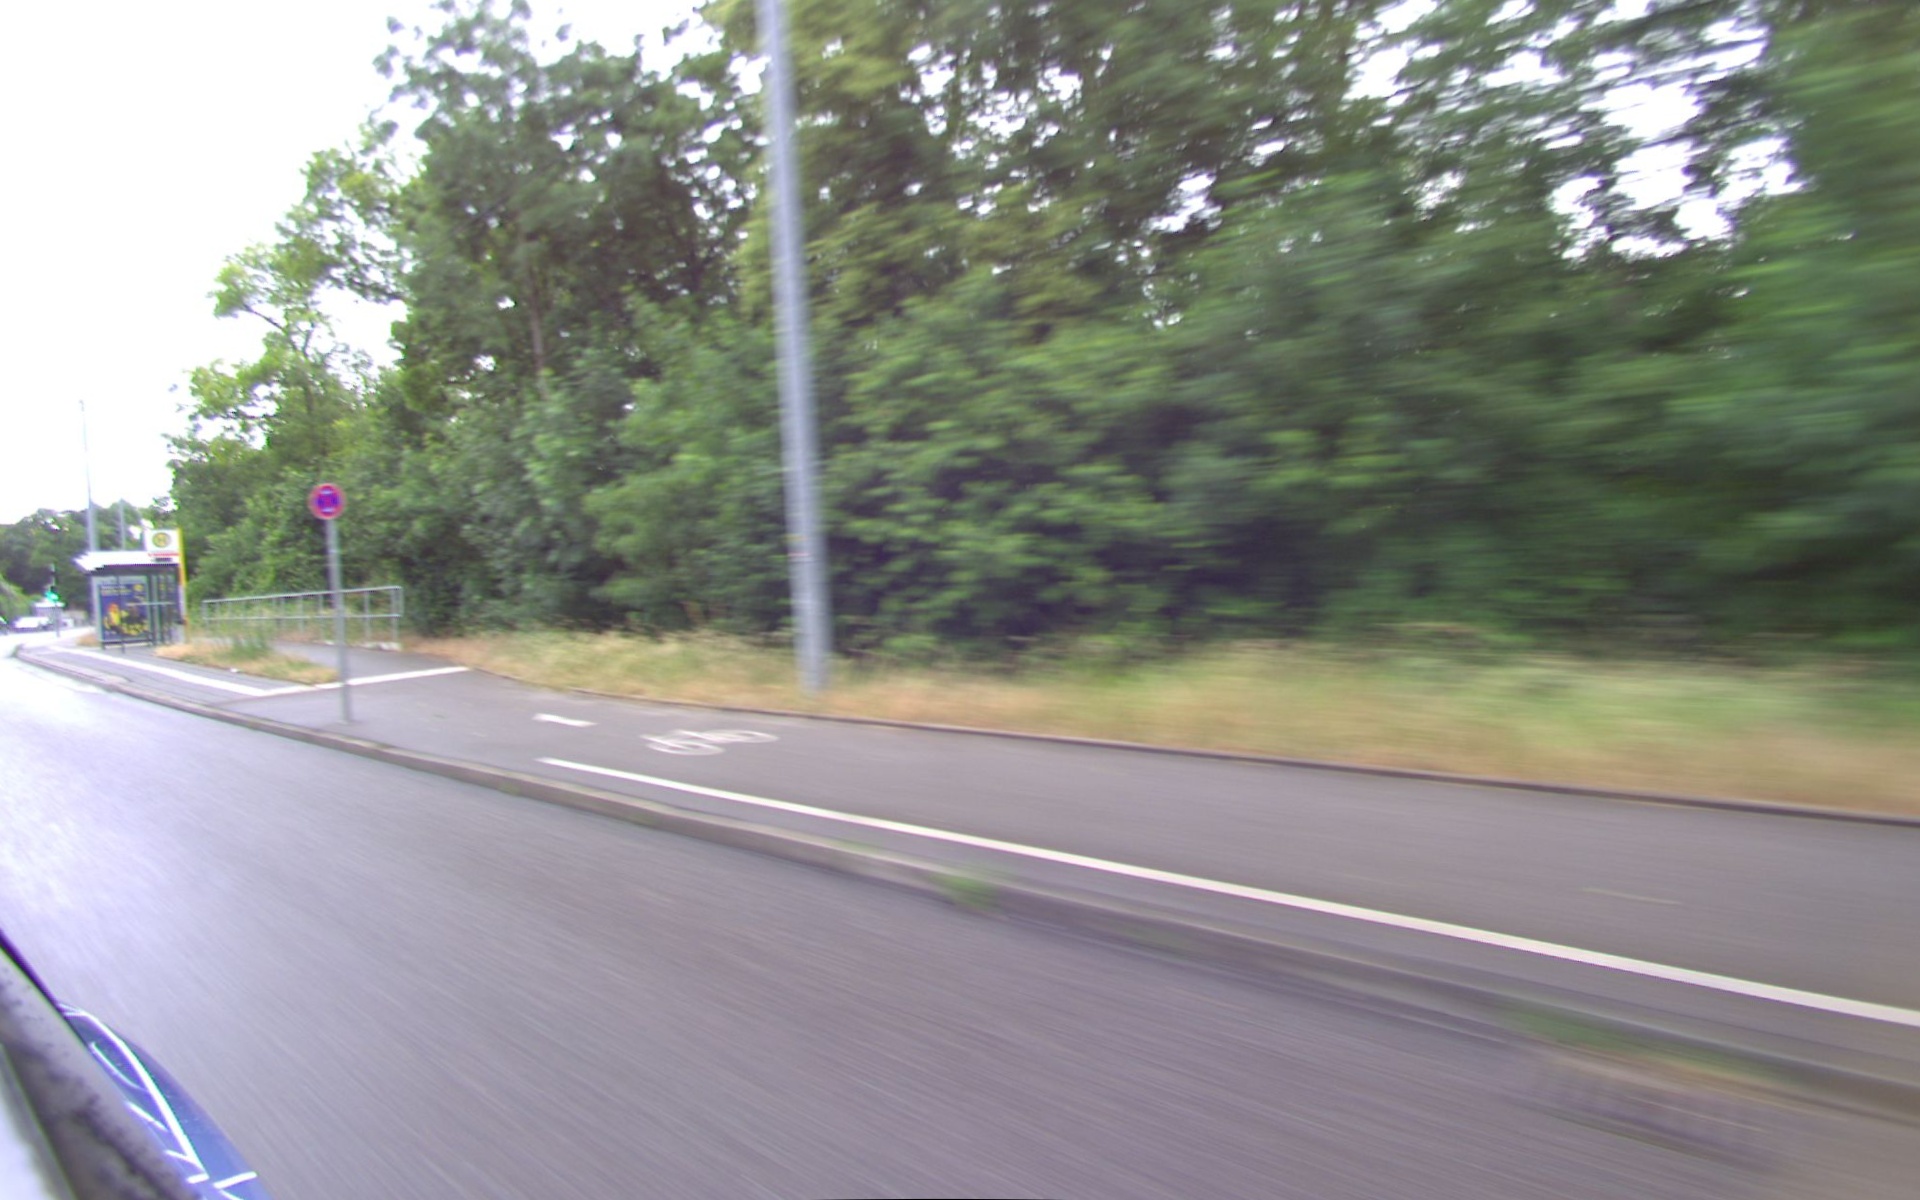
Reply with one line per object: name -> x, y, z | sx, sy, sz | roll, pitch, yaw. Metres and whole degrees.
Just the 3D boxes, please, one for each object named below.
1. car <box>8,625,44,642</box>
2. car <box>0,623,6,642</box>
car -> -90.008, 3.178, 97.569 | 1.788, 1.408, 4.114 | -2, 1, -32
car -> -80.966, 2.771, 84.069 | 1.707, 1.579, 4.534 | -2, 0, -33
